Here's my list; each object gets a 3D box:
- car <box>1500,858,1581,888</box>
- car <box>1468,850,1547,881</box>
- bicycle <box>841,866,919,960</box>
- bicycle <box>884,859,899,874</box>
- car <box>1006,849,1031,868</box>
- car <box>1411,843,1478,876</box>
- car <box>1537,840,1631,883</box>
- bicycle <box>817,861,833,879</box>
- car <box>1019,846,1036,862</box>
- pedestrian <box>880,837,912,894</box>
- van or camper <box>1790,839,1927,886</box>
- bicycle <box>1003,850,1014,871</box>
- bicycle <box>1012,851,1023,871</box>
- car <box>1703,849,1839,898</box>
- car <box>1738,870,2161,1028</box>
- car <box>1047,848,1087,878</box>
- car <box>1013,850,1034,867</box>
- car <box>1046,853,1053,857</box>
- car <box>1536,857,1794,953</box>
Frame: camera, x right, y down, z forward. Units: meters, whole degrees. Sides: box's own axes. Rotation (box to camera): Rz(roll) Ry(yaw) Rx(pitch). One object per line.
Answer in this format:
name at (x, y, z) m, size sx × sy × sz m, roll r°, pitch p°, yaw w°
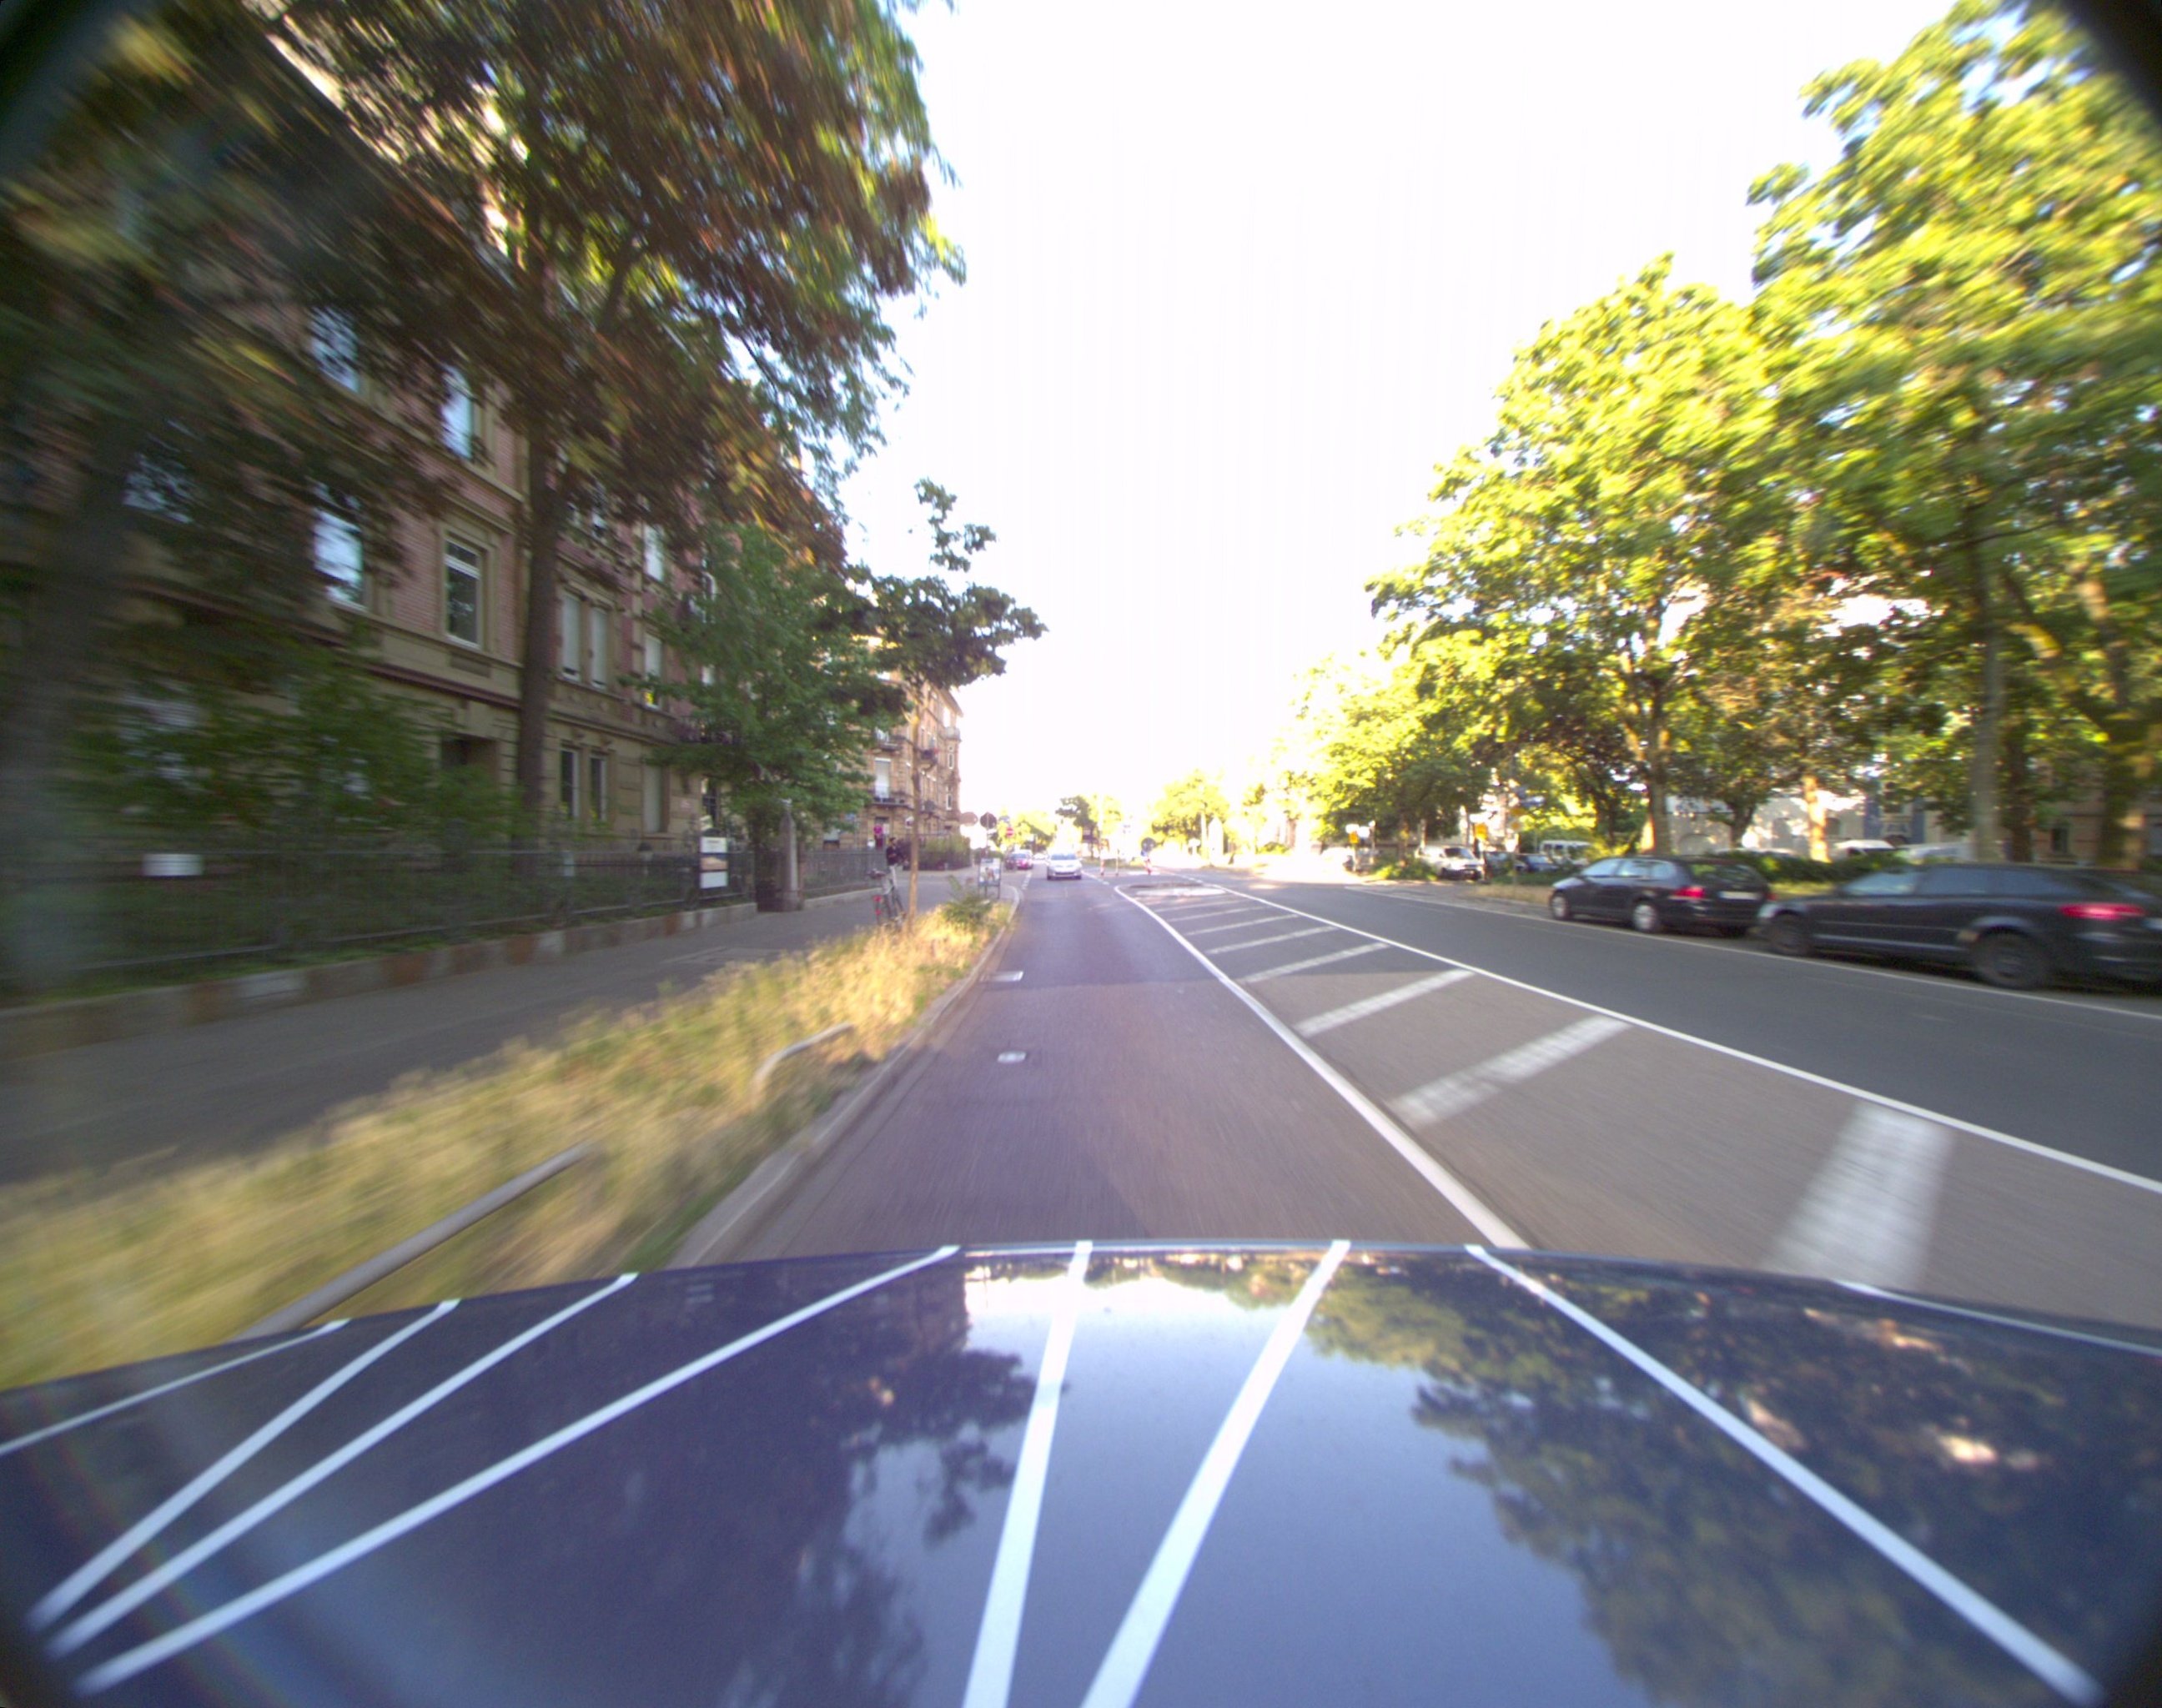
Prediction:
car at (25.713, 1.031, 42.718) m, size 1.999 × 1.531 × 3.999 m, roll 0°, pitch 0°, yaw -3°
car at (23.566, 0.584, 42.117) m, size 1.999 × 1.652 × 3.999 m, roll 0°, pitch 0°, yaw -3°
bicycle at (-2.804, 0.783, 10.788) m, size 0.648 × 1.160 × 1.930 m, roll -1°, pitch 1°, yaw -2°
bicycle at (-11.417, 0.749, 45.811) m, size 0.295 × 0.812 × 1.735 m, roll -1°, pitch 3°, yaw 6°
car at (-5.127, 0.342, 62.564) m, size 1.731 × 1.456 × 3.546 m, roll 4°, pitch 0°, yaw -2°
car at (20.770, 0.296, 43.589) m, size 1.823 × 1.785 × 3.999 m, roll 0°, pitch 0°, yaw -3°
car at (28.255, 0.389, 42.941) m, size 2.220 × 2.275 × 5.099 m, roll 0°, pitch 0°, yaw 4°
bicycle at (-12.740, 0.809, 37.828) m, size 0.292 × 0.812 × 1.498 m, roll -1°, pitch -3°, yaw -2°
car at (-6.952, 0.027, 99.240) m, size 1.892 × 1.907 × 5.178 m, roll 4°, pitch 0°, yaw -1°
pedestrian at (-5.960, 0.364, 24.502) m, size 0.747 × 1.768 × 0.831 m, roll 4°, pitch 1°, yaw -2°
van or camper at (43.109, 0.448, 42.393) m, size 2.071 × 2.457 × 5.427 m, roll 0°, pitch 0°, yaw 0°
bicycle at (-4.992, 0.440, 52.596) m, size 0.567 × 1.268 × 2.263 m, roll 5°, pitch 2°, yaw -3°
bicycle at (-4.414, 0.485, 52.634) m, size 0.567 × 1.292 × 2.263 m, roll 5°, pitch 2°, yaw -3°
car at (28.752, 0.767, 31.852) m, size 1.999 × 1.871 × 3.999 m, roll -1°, pitch 0°, yaw -3°
car at (10.900, 0.991, 9.531) m, size 1.632 × 1.421 × 4.242 m, roll 2°, pitch 0°, yaw 1°
car at (-0.802, 0.457, 40.168) m, size 1.896 × 1.455 × 3.964 m, roll 1°, pitch 0°, yaw -4°
car at (-5.108, 0.376, 67.222) m, size 1.682 × 1.418 × 3.675 m, roll 4°, pitch 0°, yaw -5°
car at (-9.353, 0.345, 226.424) m, size 1.948 × 1.259 × 4.161 m, roll 1°, pitch 0°, yaw -5°
car at (11.066, 0.859, 14.903) m, size 1.627 × 1.498 × 4.544 m, roll 1°, pitch 0°, yaw 2°
